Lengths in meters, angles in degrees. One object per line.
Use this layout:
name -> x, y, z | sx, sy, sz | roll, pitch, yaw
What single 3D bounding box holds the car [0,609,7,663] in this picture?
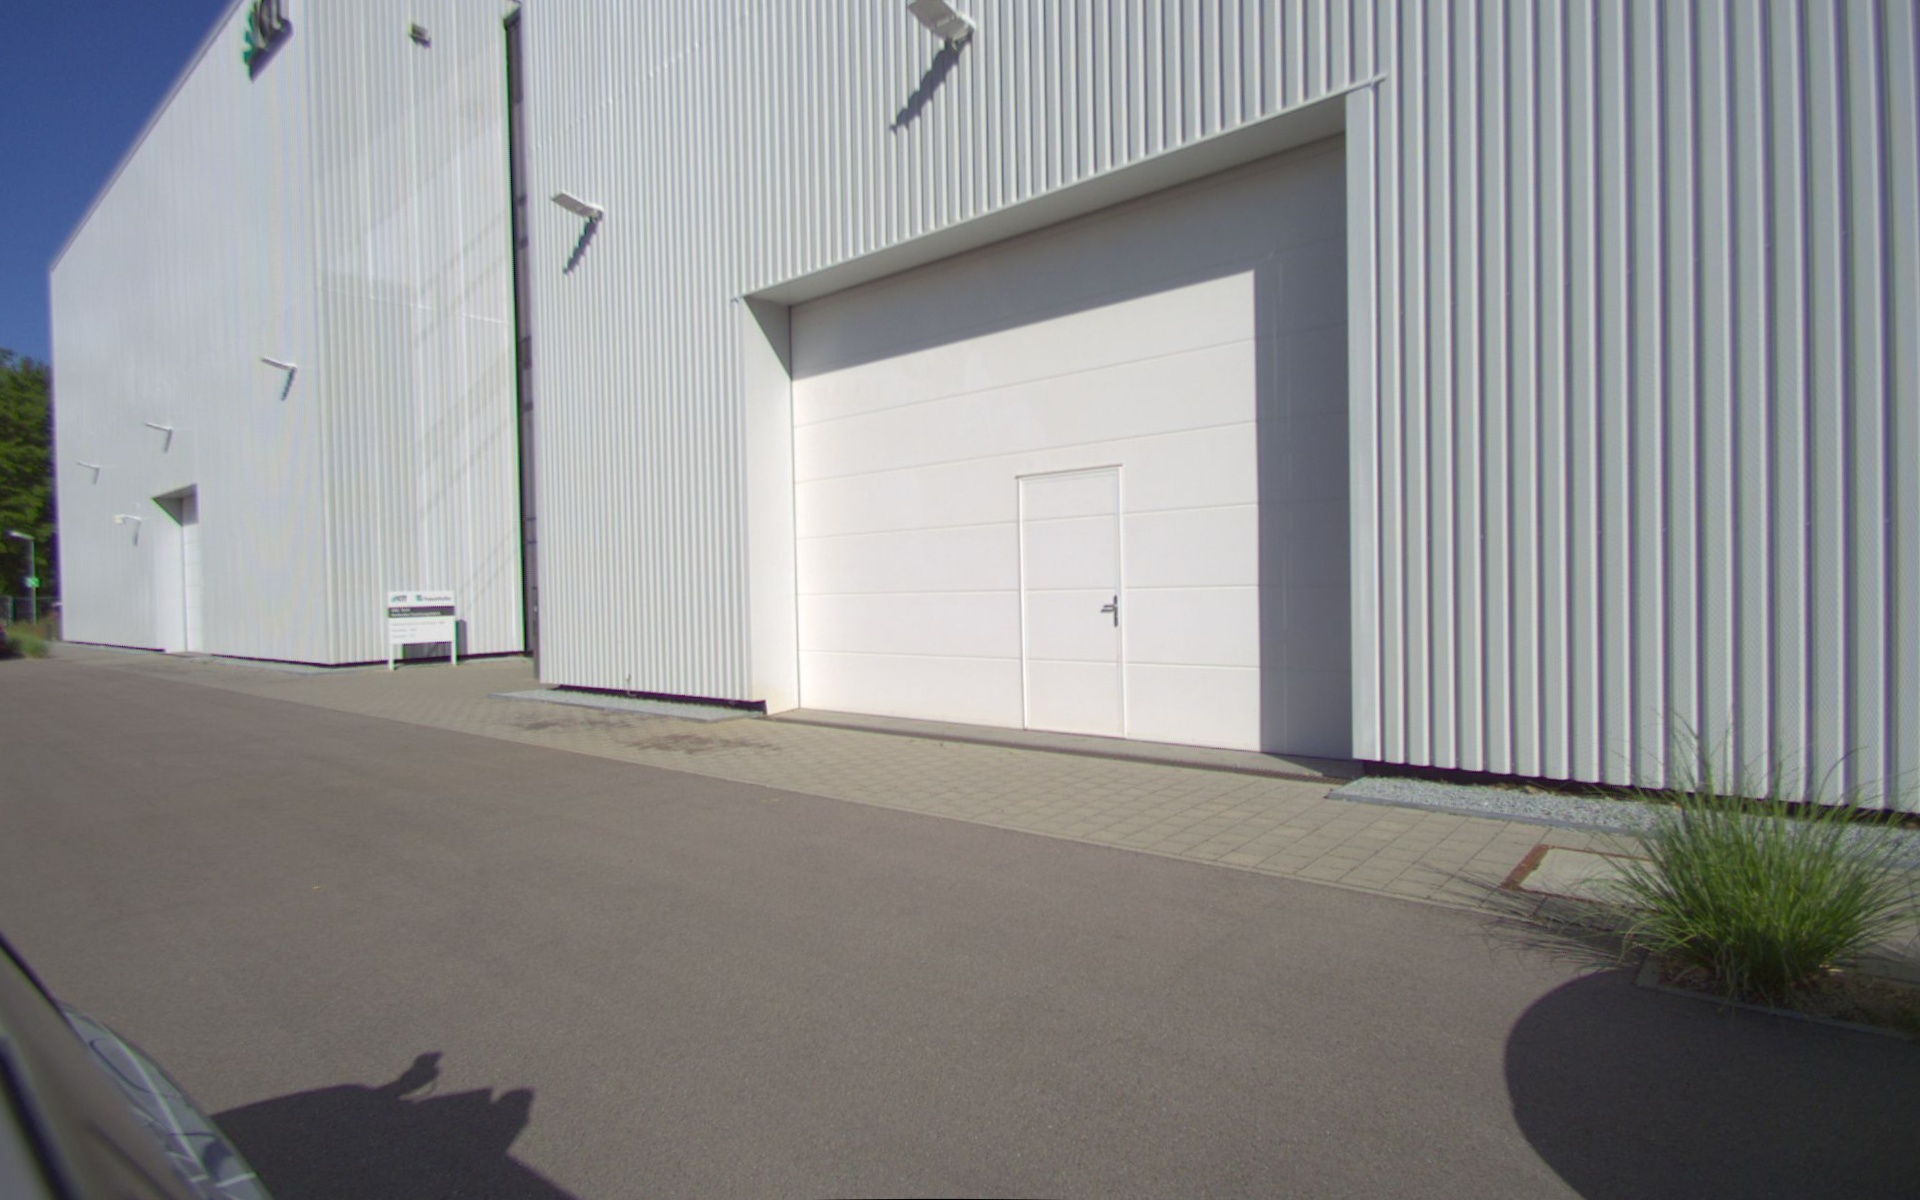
car -> -28.526, 1.073, 28.689 | 4.313, 1.456, 1.738 | -2, 2, 41
